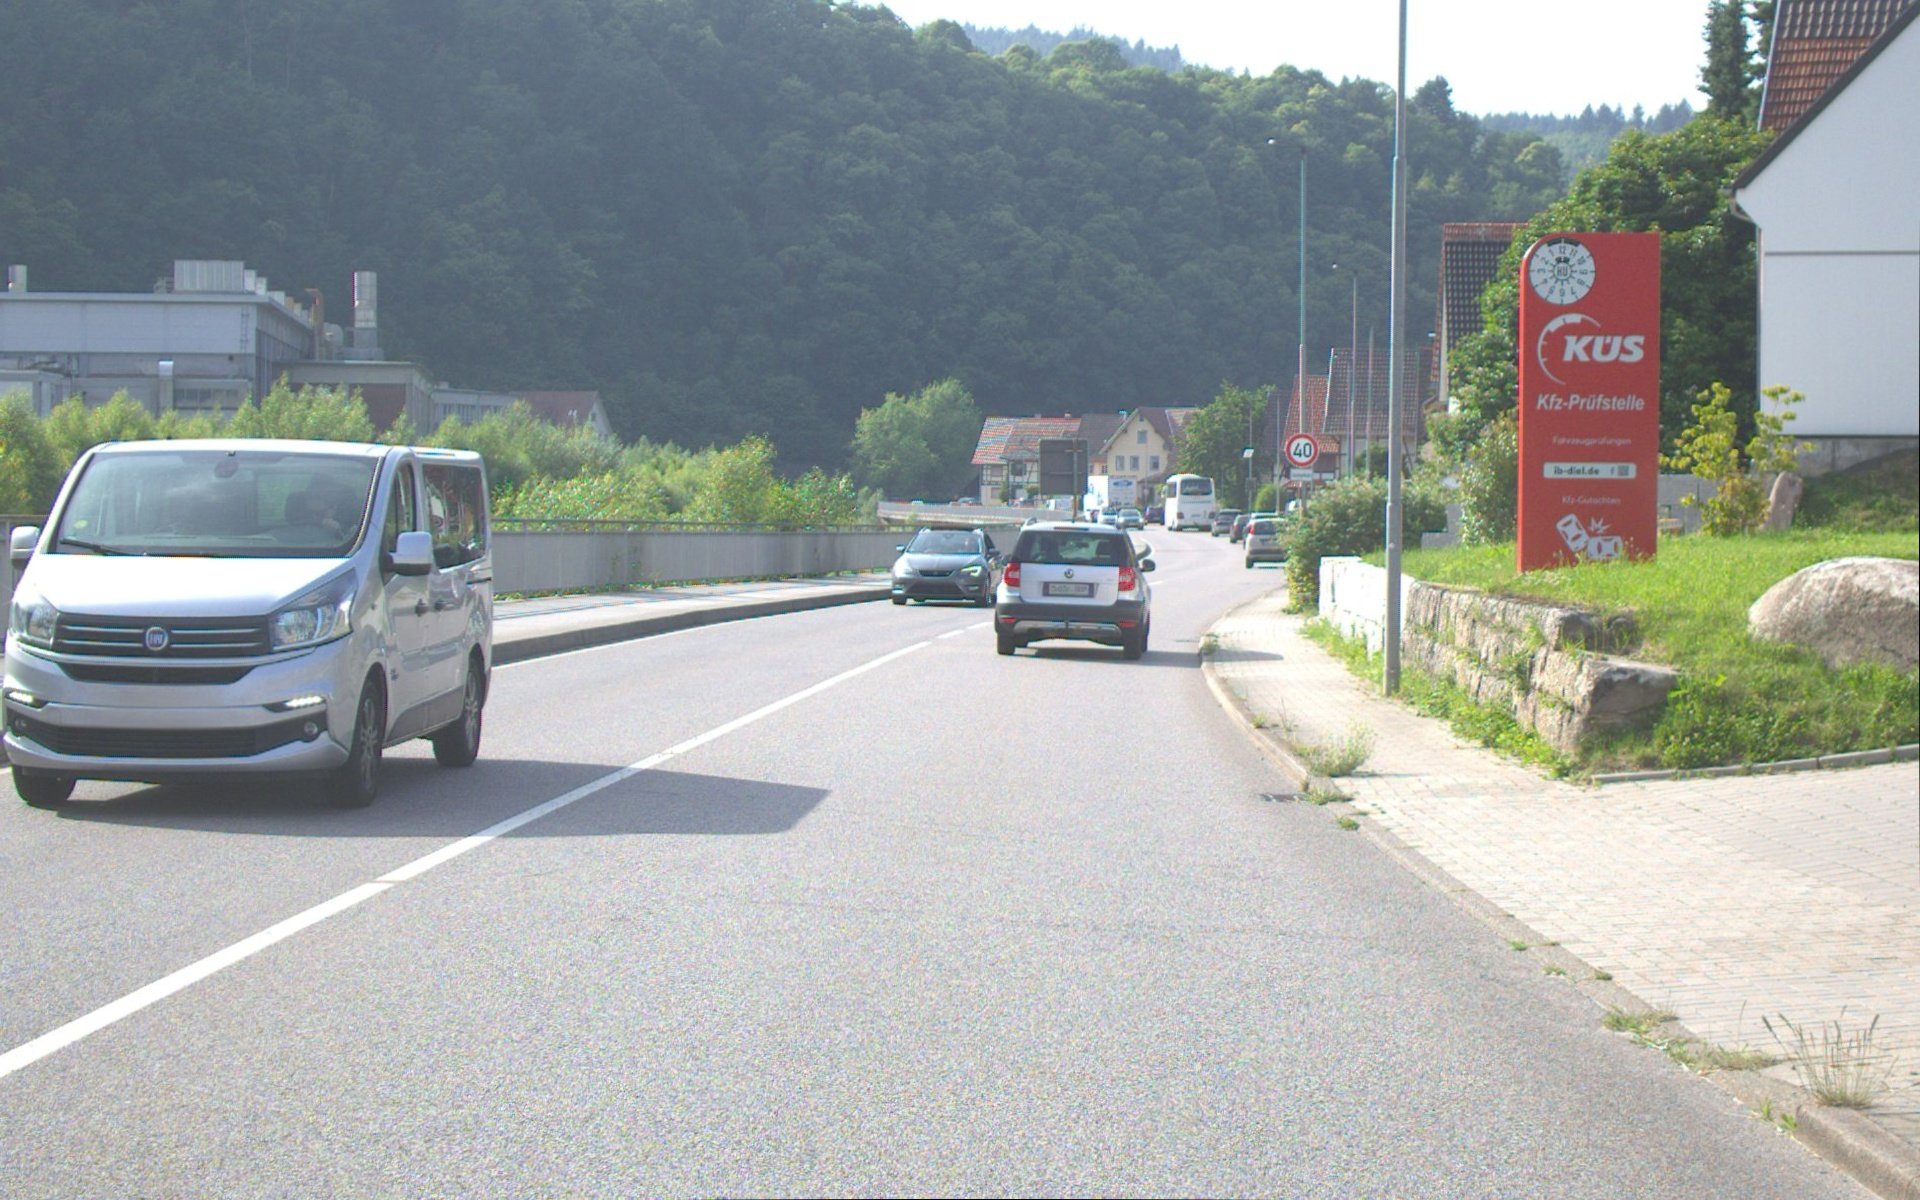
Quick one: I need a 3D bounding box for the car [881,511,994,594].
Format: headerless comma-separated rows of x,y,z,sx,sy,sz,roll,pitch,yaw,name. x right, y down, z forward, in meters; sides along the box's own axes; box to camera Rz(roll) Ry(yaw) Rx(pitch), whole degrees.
-0.386,-0.902,64.798,1.813,1.479,4.797,1,1,3,car

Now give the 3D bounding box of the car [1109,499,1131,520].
11.094,-6.272,238.319,1.433,1.379,3.135,1,3,2,car

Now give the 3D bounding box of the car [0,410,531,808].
-3.905,0.006,19.595,1.920,1.961,5.145,0,1,4,car

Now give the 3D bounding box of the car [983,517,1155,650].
1.411,-0.249,42.765,1.861,1.539,4.372,1,1,5,car

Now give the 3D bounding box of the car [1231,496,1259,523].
14.306,-4.534,172.343,1.364,1.273,3.082,1,1,5,car

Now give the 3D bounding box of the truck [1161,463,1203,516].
14.684,-7.306,227.476,2.729,3.363,6.478,1,3,4,truck

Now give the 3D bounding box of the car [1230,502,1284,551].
9.512,-2.347,110.073,1.622,1.536,3.277,1,1,6,car

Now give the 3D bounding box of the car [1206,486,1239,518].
15.050,-5.631,197.295,1.675,1.746,3.447,1,3,7,car
